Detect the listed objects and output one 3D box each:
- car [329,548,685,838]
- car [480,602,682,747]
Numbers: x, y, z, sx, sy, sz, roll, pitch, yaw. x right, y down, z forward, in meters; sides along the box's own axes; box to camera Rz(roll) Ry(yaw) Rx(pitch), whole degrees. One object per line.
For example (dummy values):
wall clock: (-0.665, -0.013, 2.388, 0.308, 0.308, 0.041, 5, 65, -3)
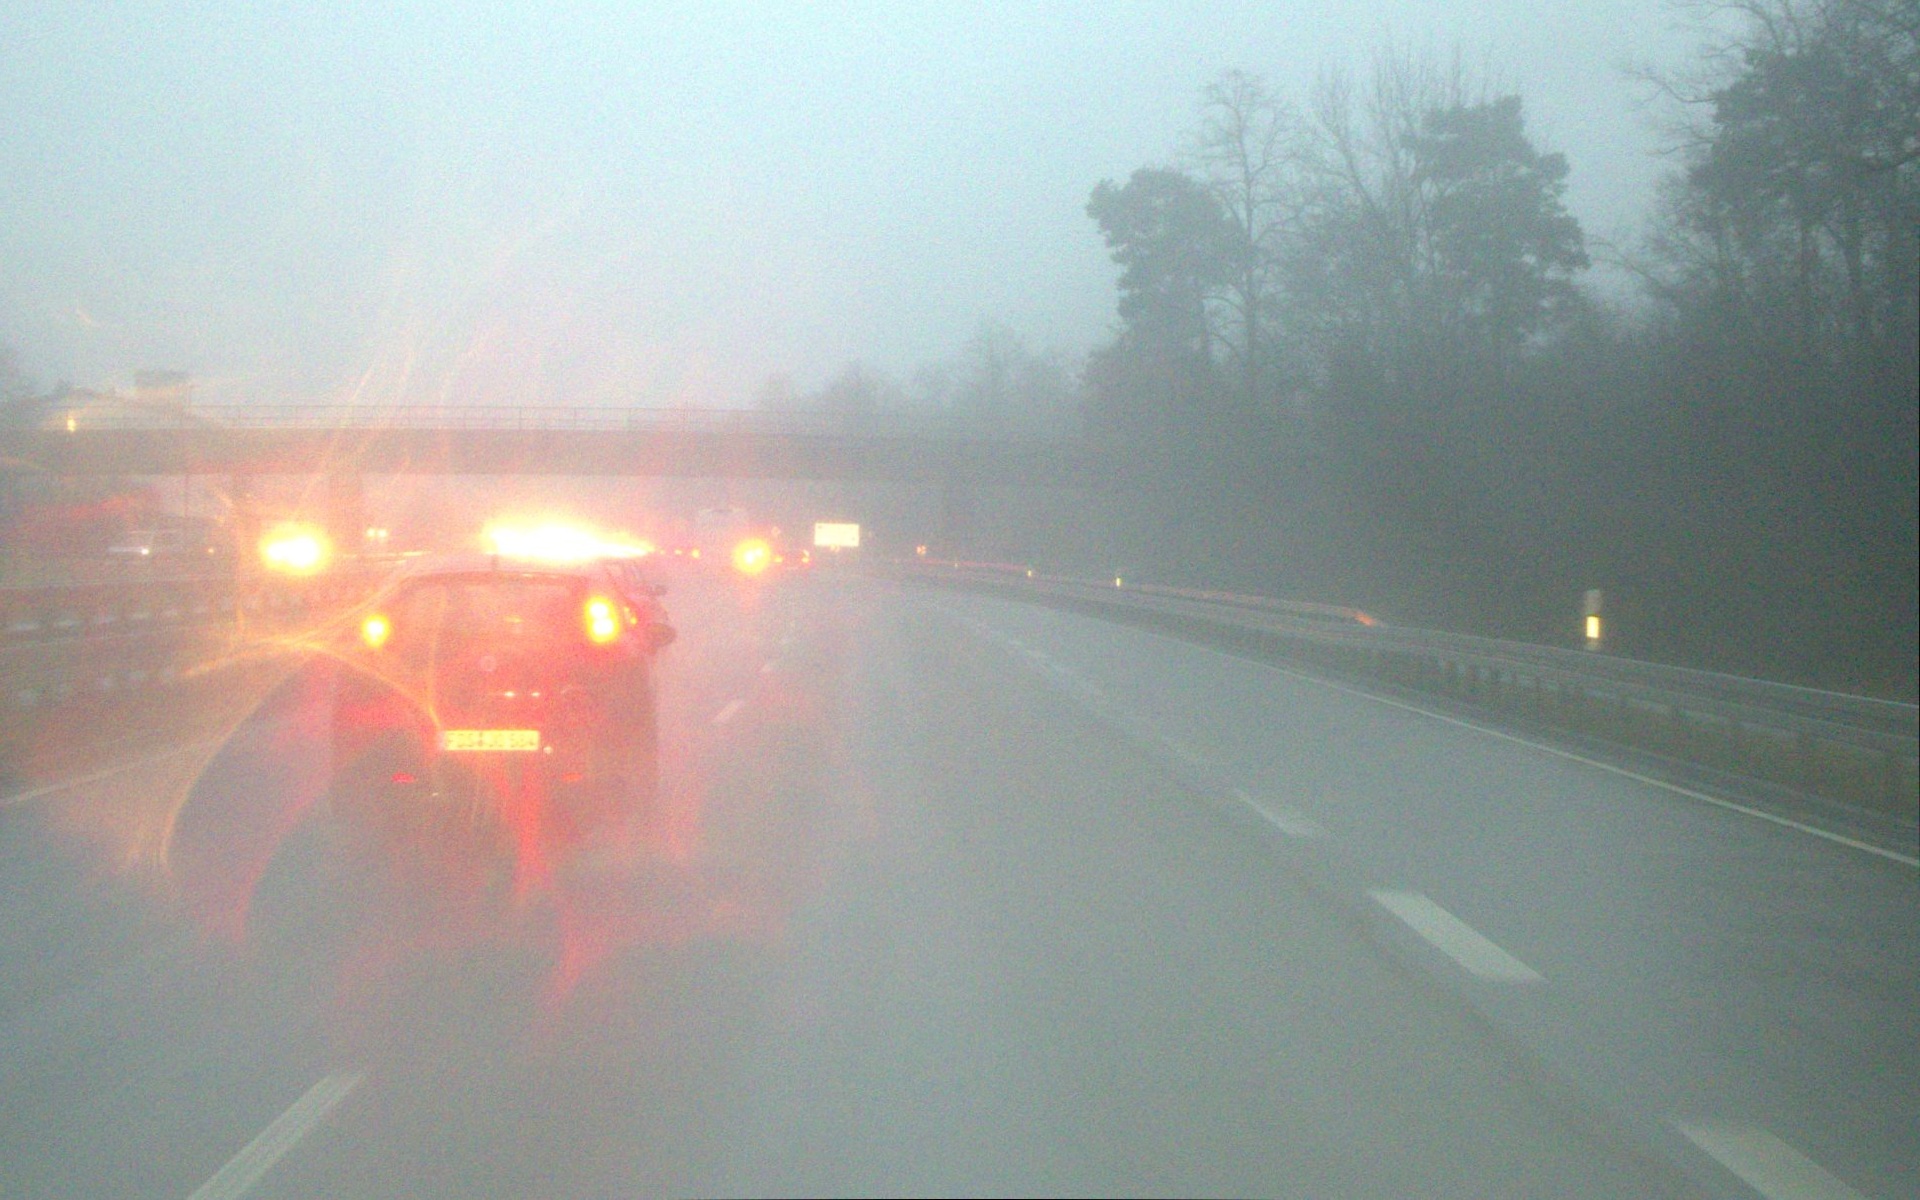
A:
car: (-2.507, 0.460, 19.689, 1.527, 1.411, 3.479, 3, 1, 0)
car: (-4.282, 0.817, 39.437, 1.776, 1.529, 4.702, -1, 0, 0)
